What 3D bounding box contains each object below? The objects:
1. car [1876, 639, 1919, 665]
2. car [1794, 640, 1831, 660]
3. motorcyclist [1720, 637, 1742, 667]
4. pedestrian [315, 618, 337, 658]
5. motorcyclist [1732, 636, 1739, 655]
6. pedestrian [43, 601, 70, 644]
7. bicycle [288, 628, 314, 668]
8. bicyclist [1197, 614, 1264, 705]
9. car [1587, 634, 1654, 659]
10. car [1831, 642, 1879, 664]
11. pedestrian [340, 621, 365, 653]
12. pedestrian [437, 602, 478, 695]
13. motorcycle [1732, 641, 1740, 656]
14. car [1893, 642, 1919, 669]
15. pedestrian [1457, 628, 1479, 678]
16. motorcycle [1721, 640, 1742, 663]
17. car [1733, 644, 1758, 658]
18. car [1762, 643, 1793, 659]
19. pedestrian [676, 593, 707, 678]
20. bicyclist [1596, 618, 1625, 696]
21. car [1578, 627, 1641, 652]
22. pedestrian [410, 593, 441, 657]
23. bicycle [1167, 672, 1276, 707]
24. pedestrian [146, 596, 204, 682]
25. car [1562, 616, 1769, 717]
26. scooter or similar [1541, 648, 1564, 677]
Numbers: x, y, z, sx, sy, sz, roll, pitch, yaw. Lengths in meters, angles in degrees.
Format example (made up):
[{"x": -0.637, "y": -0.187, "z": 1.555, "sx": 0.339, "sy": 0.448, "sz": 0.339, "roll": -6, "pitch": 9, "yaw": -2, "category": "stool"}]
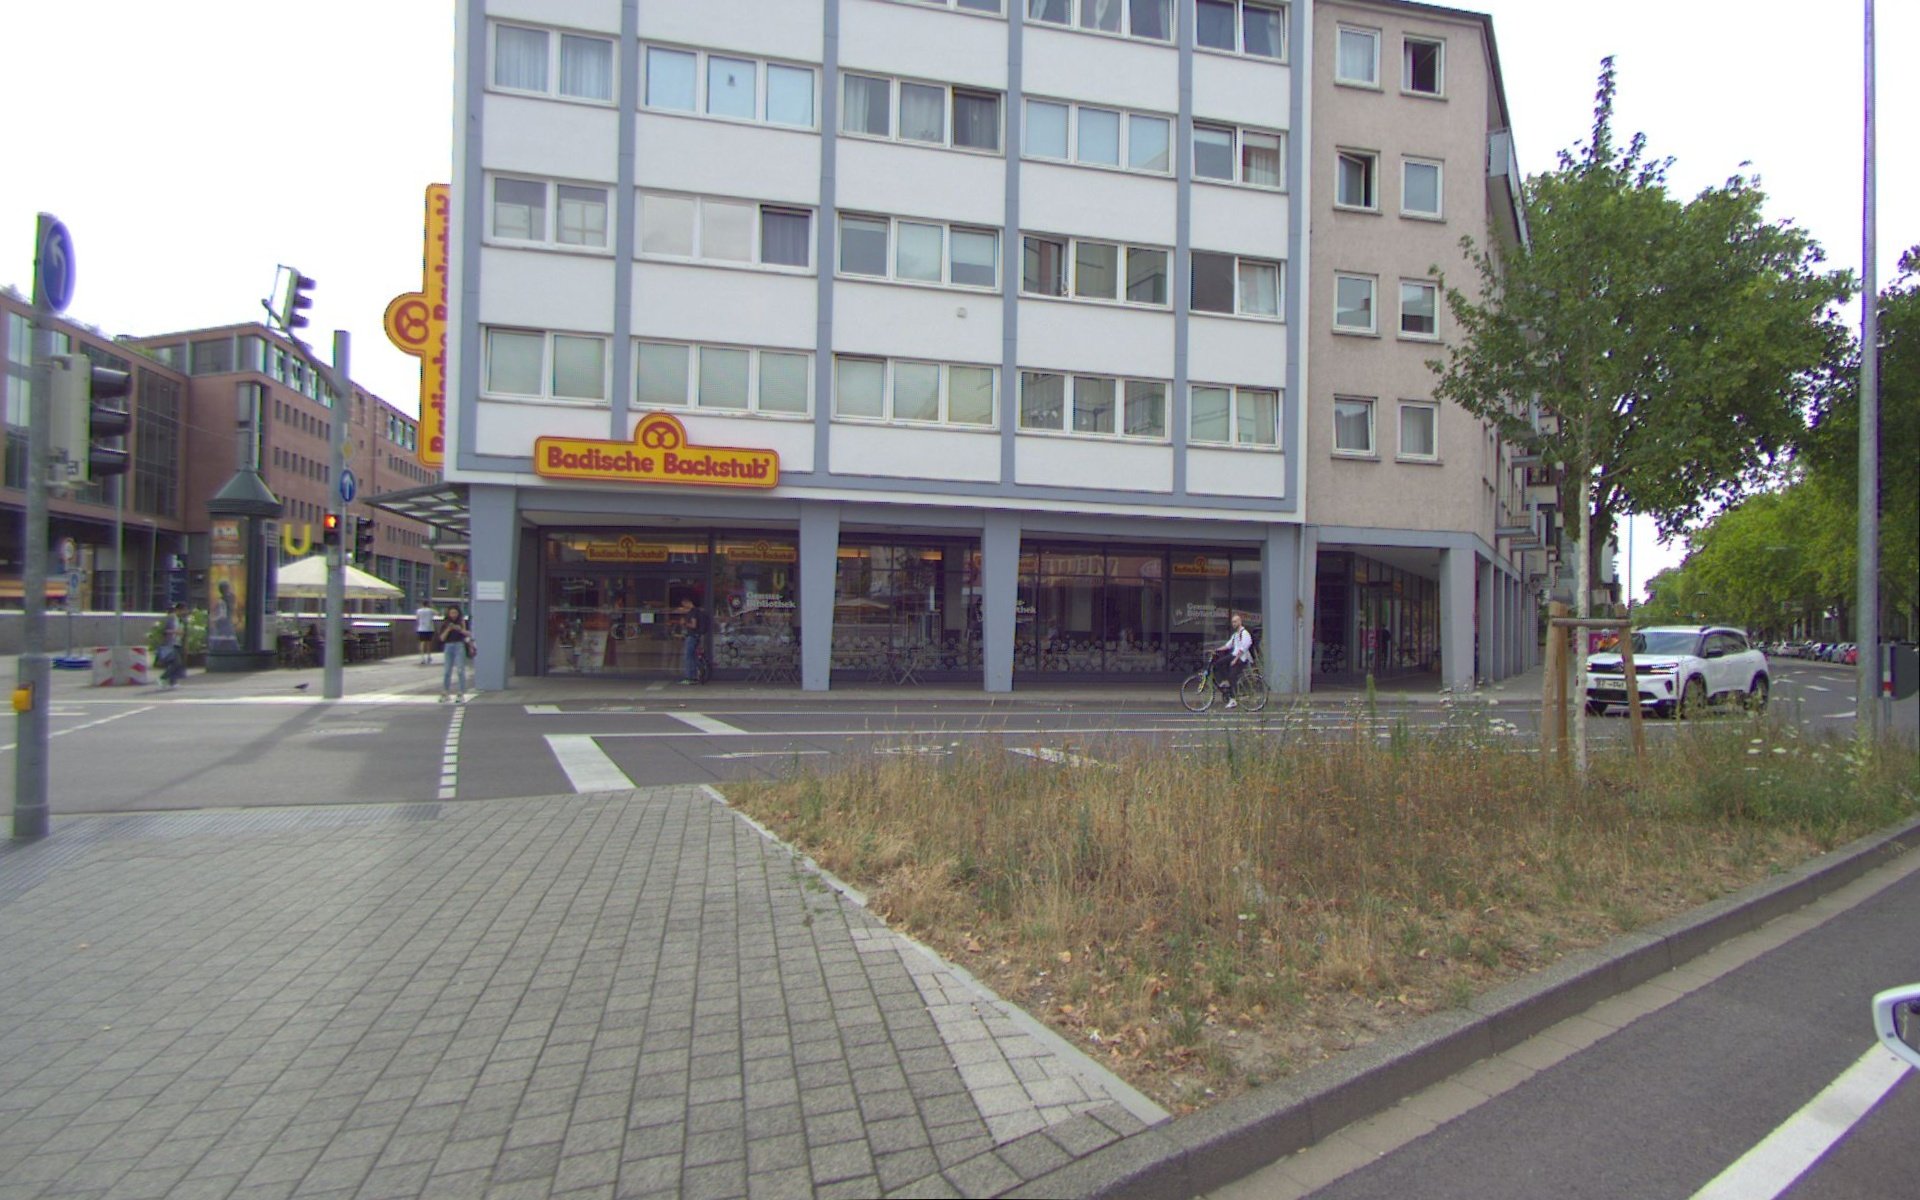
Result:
[{"x": 55.194, "y": 3.036, "z": 58.810, "sx": 1.634, "sy": 1.441, "sz": 3.937, "roll": 1, "pitch": -1, "yaw": 32, "category": "car"}, {"x": 68.482, "y": 4.014, "z": 80.741, "sx": 1.607, "sy": 1.489, "sz": 4.308, "roll": 1, "pitch": -2, "yaw": 32, "category": "car"}, {"x": 38.117, "y": 2.586, "z": 49.666, "sx": 0.786, "sy": 1.479, "sz": 0.862, "roll": -2, "pitch": -4, "yaw": 36, "category": "motorcyclist"}, {"x": -18.580, "y": 1.122, "z": 29.448, "sx": 0.439, "sy": 1.148, "sz": 0.529, "roll": 2, "pitch": -1, "yaw": -41, "category": "pedestrian"}, {"x": 70.837, "y": 4.154, "z": 91.711, "sx": 0.440, "sy": 1.668, "sz": 0.518, "roll": 1, "pitch": -1, "yaw": 33, "category": "motorcyclist"}, {"x": -36.530, "y": 0.912, "z": 40.626, "sx": 0.571, "sy": 1.685, "sz": 0.520, "roll": 2, "pitch": -1, "yaw": -12, "category": "pedestrian"}, {"x": -17.818, "y": 1.288, "z": 27.139, "sx": 0.469, "sy": 1.002, "sz": 1.770, "roll": 2, "pitch": -2, "yaw": -36, "category": "bicycle"}, {"x": 5.087, "y": 1.107, "z": 18.924, "sx": 1.019, "sy": 1.667, "sz": 0.609, "roll": 2, "pitch": -1, "yaw": -10, "category": "bicyclist"}, {"x": 51.227, "y": 3.580, "z": 77.942, "sx": 4.198, "sy": 1.627, "sz": 1.962, "roll": 3, "pitch": 1, "yaw": 34, "category": "car"}, {"x": 60.147, "y": 3.561, "z": 67.576, "sx": 1.652, "sy": 1.412, "sz": 4.451, "roll": 1, "pitch": -2, "yaw": 32, "category": "car"}, {"x": -18.951, "y": 1.146, "z": 31.335, "sx": 0.513, "sy": 0.974, "sz": 0.458, "roll": 2, "pitch": -1, "yaw": -8, "category": "pedestrian"}, {"x": -8.742, "y": 0.840, "z": 17.487, "sx": 0.510, "sy": 1.580, "sz": 0.498, "roll": 2, "pitch": -1, "yaw": -19, "category": "pedestrian"}, {"x": 70.775, "y": 4.424, "z": 91.626, "sx": 0.367, "sy": 1.367, "sz": 1.727, "roll": 1, "pitch": -2, "yaw": 32, "category": "motorcycle"}, {"x": 52.510, "y": 3.031, "z": 54.822, "sx": 1.634, "sy": 1.441, "sz": 3.857, "roll": 1, "pitch": -1, "yaw": 32, "category": "car"}, {"x": 18.389, "y": 1.917, "z": 36.356, "sx": 0.573, "sy": 1.780, "sz": 0.782, "roll": 3, "pitch": 0, "yaw": 33, "category": "pedestrian"}, {"x": 38.104, "y": 2.556, "z": 49.632, "sx": 0.712, "sy": 1.109, "sz": 2.029, "roll": -2, "pitch": -4, "yaw": 36, "category": "motorcycle"}, {"x": 89.293, "y": 5.806, "z": 114.167, "sx": 1.617, "sy": 1.413, "sz": 3.507, "roll": 3, "pitch": -1, "yaw": 29, "category": "car"}, {"x": 78.555, "y": 4.893, "z": 96.571, "sx": 1.652, "sy": 1.412, "sz": 4.451, "roll": 1, "pitch": -2, "yaw": 32, "category": "car"}, {"x": -5.727, "y": 0.758, "z": 21.468, "sx": 0.579, "sy": 1.788, "sz": 0.476, "roll": 1, "pitch": -1, "yaw": -13, "category": "pedestrian"}, {"x": 15.249, "y": 1.324, "z": 23.543, "sx": 0.530, "sy": 1.766, "sz": 0.756, "roll": 1, "pitch": -2, "yaw": 34, "category": "bicyclist"}, {"x": 56.800, "y": 3.463, "z": 87.892, "sx": 4.465, "sy": 1.903, "sz": 2.041, "roll": 3, "pitch": 0, "yaw": 34, "category": "car"}, {"x": -16.100, "y": 0.743, "z": 30.271, "sx": 0.571, "sy": 1.883, "sz": 0.862, "roll": 2, "pitch": -1, "yaw": -13, "category": "pedestrian"}, {"x": 4.933, "y": 1.694, "z": 18.967, "sx": 1.962, "sy": 0.596, "sz": 0.484, "roll": 2, "pitch": -1, "yaw": -10, "category": "bicycle"}, {"x": -15.207, "y": 0.747, "z": 19.463, "sx": 0.649, "sy": 1.615, "sz": 0.686, "roll": 1, "pitch": -1, "yaw": 35, "category": "pedestrian"}, {"x": 13.329, "y": 1.209, "z": 18.904, "sx": 4.281, "sy": 1.682, "sz": 1.820, "roll": 2, "pitch": -2, "yaw": -35, "category": "car"}, {"x": 26.831, "y": 2.824, "z": 45.497, "sx": 0.281, "sy": 1.281, "sz": 1.176, "roll": 2, "pitch": -2, "yaw": -4, "category": "scooter or similar"}]
